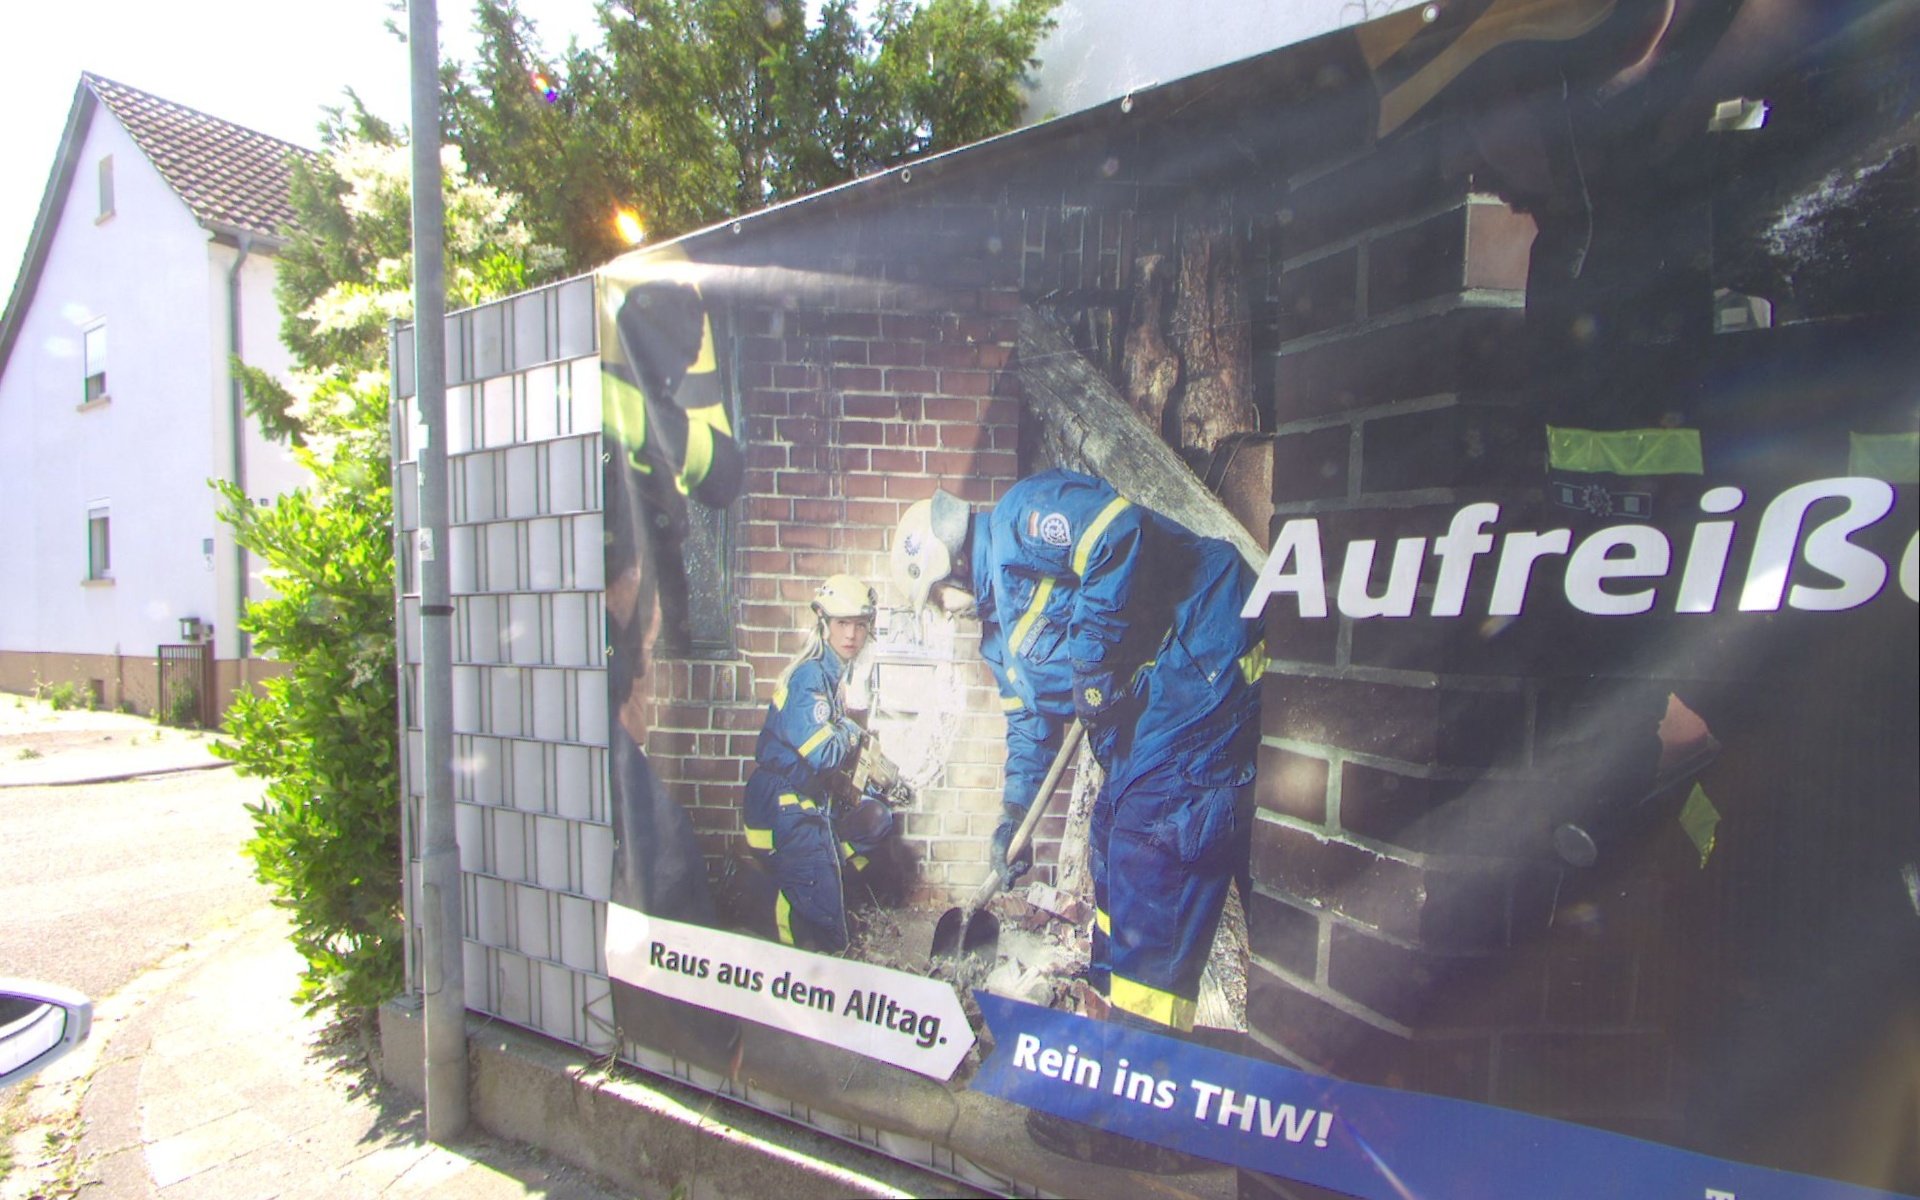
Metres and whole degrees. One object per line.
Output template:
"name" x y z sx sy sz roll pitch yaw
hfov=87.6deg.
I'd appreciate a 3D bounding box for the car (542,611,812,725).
"car" -4.317 0.954 15.851 1.771 1.550 3.978 0 -1 32
